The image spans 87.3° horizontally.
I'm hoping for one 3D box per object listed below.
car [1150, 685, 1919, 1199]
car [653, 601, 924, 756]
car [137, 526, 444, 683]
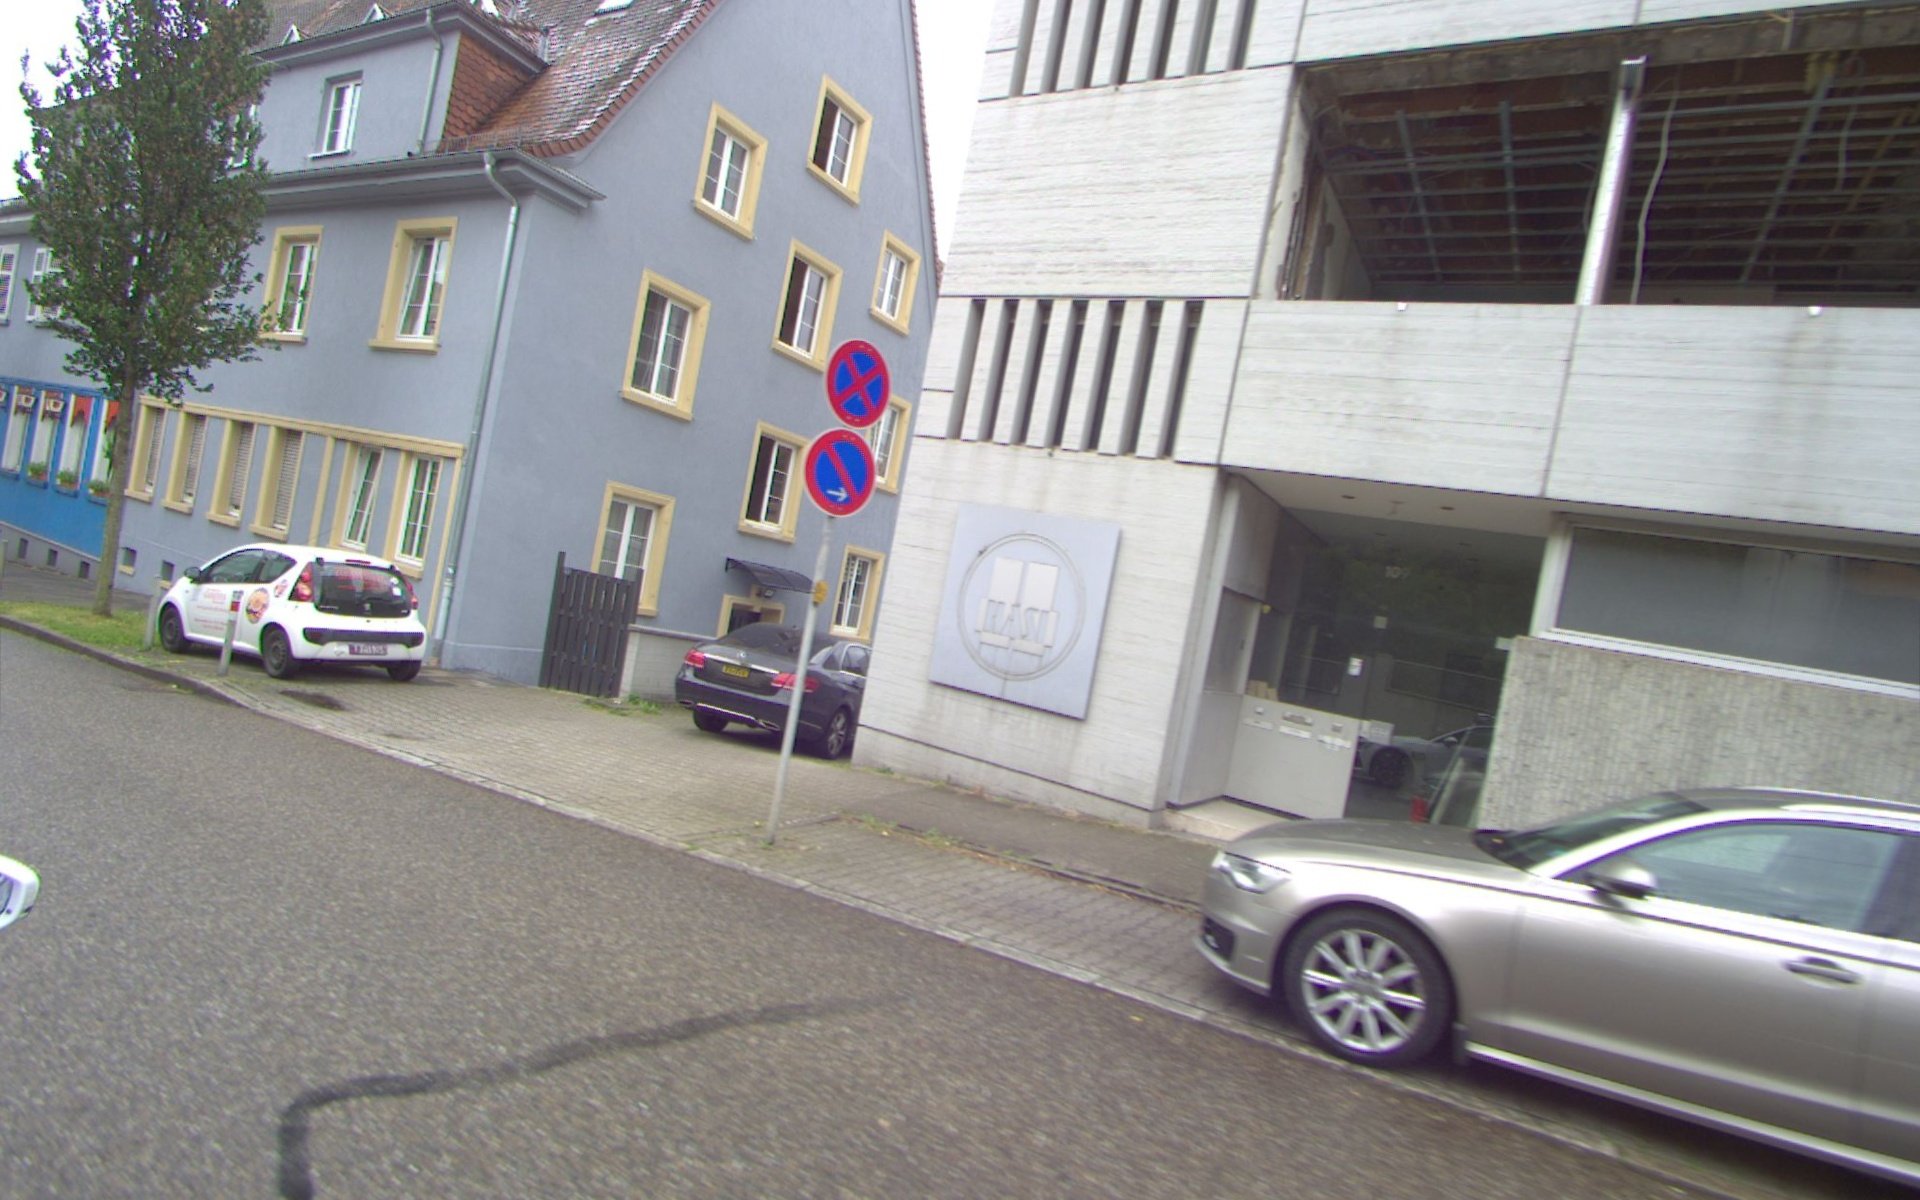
[{"bbox_3d":[3.441,1.478,4.425,4.661,1.476,1.819,7,-2,30],"label":"car"},{"bbox_3d":[-1.960,1.082,13.029,1.774,1.421,4.380,8,-5,13],"label":"car"},{"bbox_3d":[-8.157,0.050,12.239,3.396,1.429,1.590,7,0,28],"label":"car"}]
